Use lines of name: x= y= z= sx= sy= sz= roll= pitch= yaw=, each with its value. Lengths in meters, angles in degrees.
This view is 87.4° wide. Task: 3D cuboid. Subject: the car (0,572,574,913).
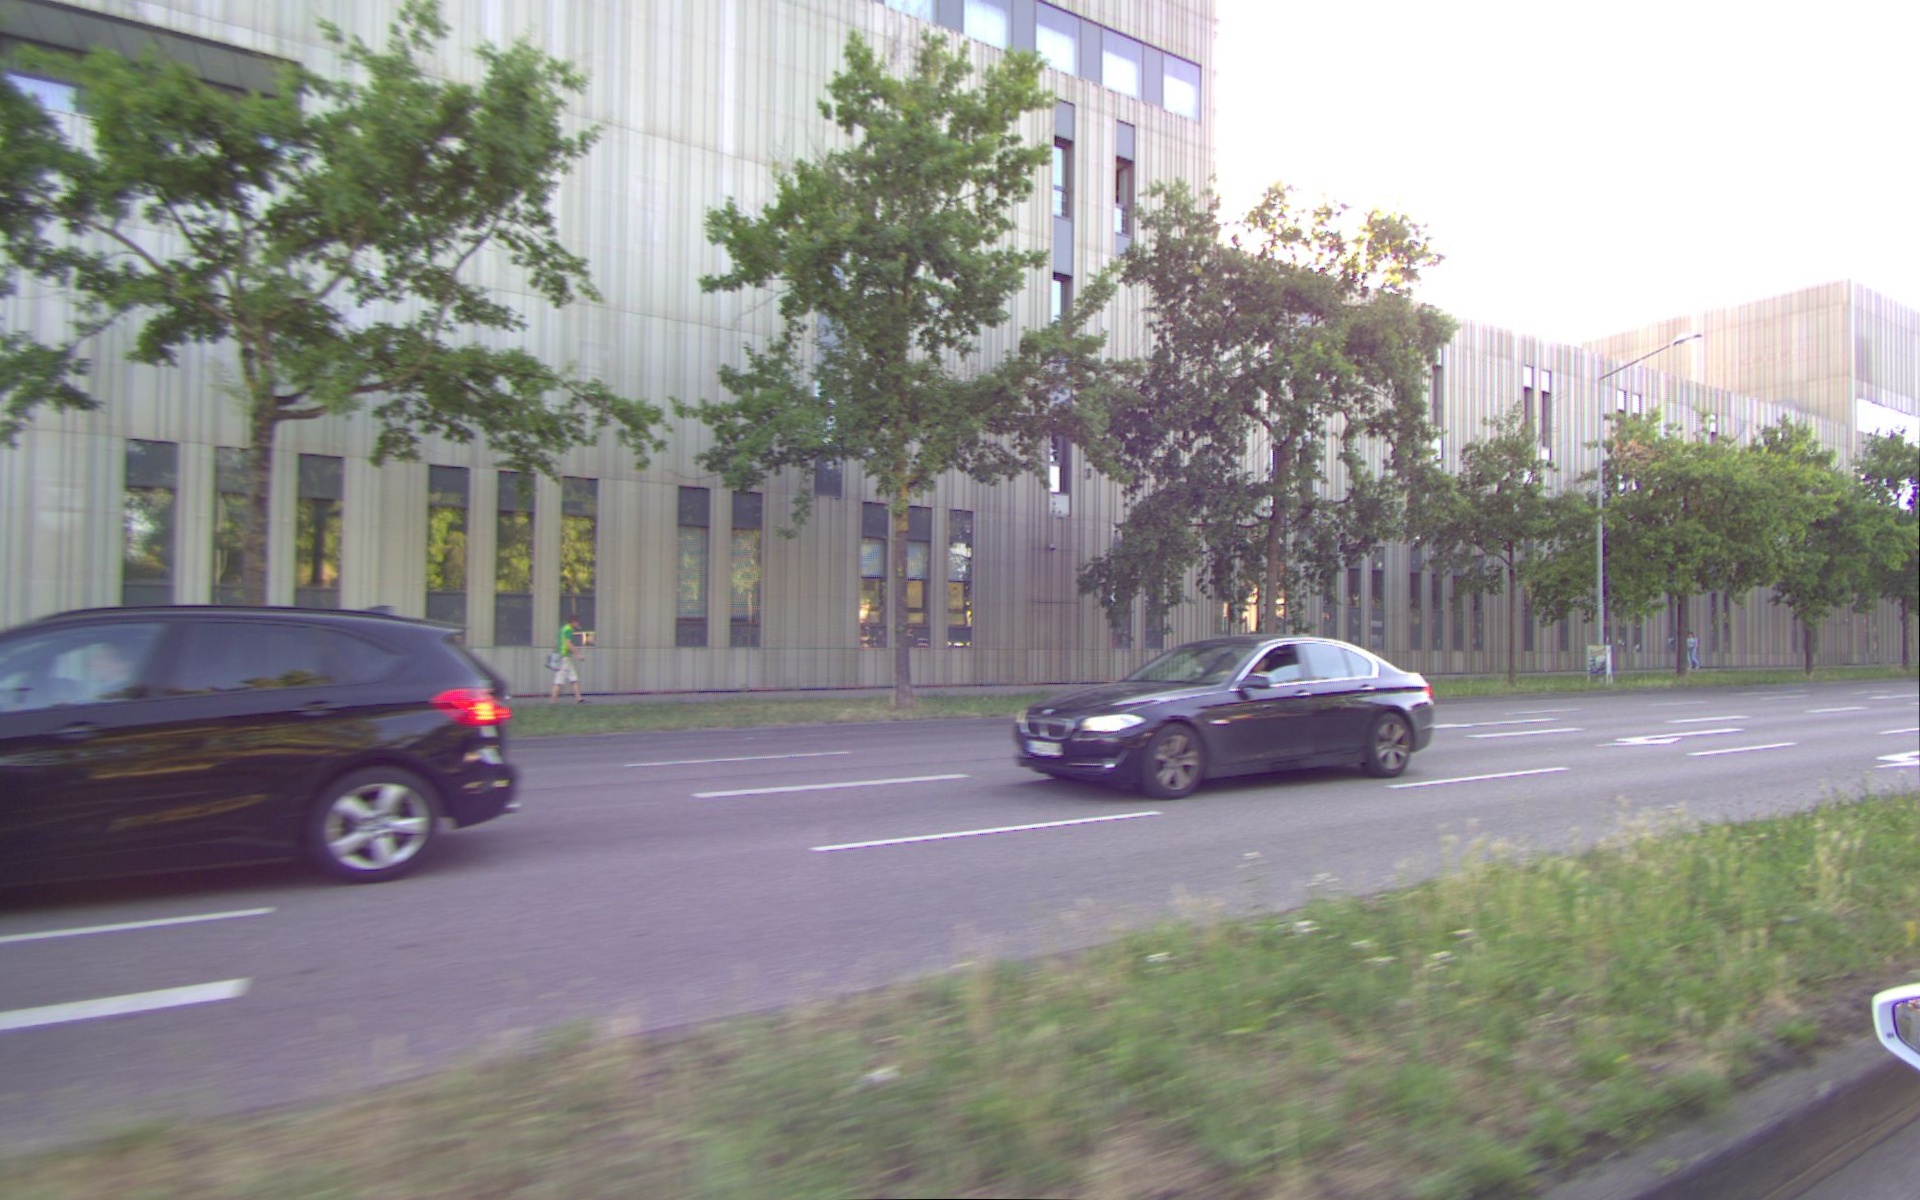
car: x=-4.871 y=0.762 z=5.773 sx=4.663 sy=1.612 sz=1.984 roll=3 pitch=-6 yaw=-32

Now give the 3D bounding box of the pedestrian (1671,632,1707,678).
pedestrian: x=33.529 y=2.516 z=46.206 sx=0.950 sy=2.040 sz=1.014 roll=3 pitch=-1 yaw=-30

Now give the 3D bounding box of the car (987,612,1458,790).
car: x=2.797 y=1.018 z=10.400 sx=4.745 sy=1.470 sz=1.984 roll=3 pitch=-6 yaw=-32
